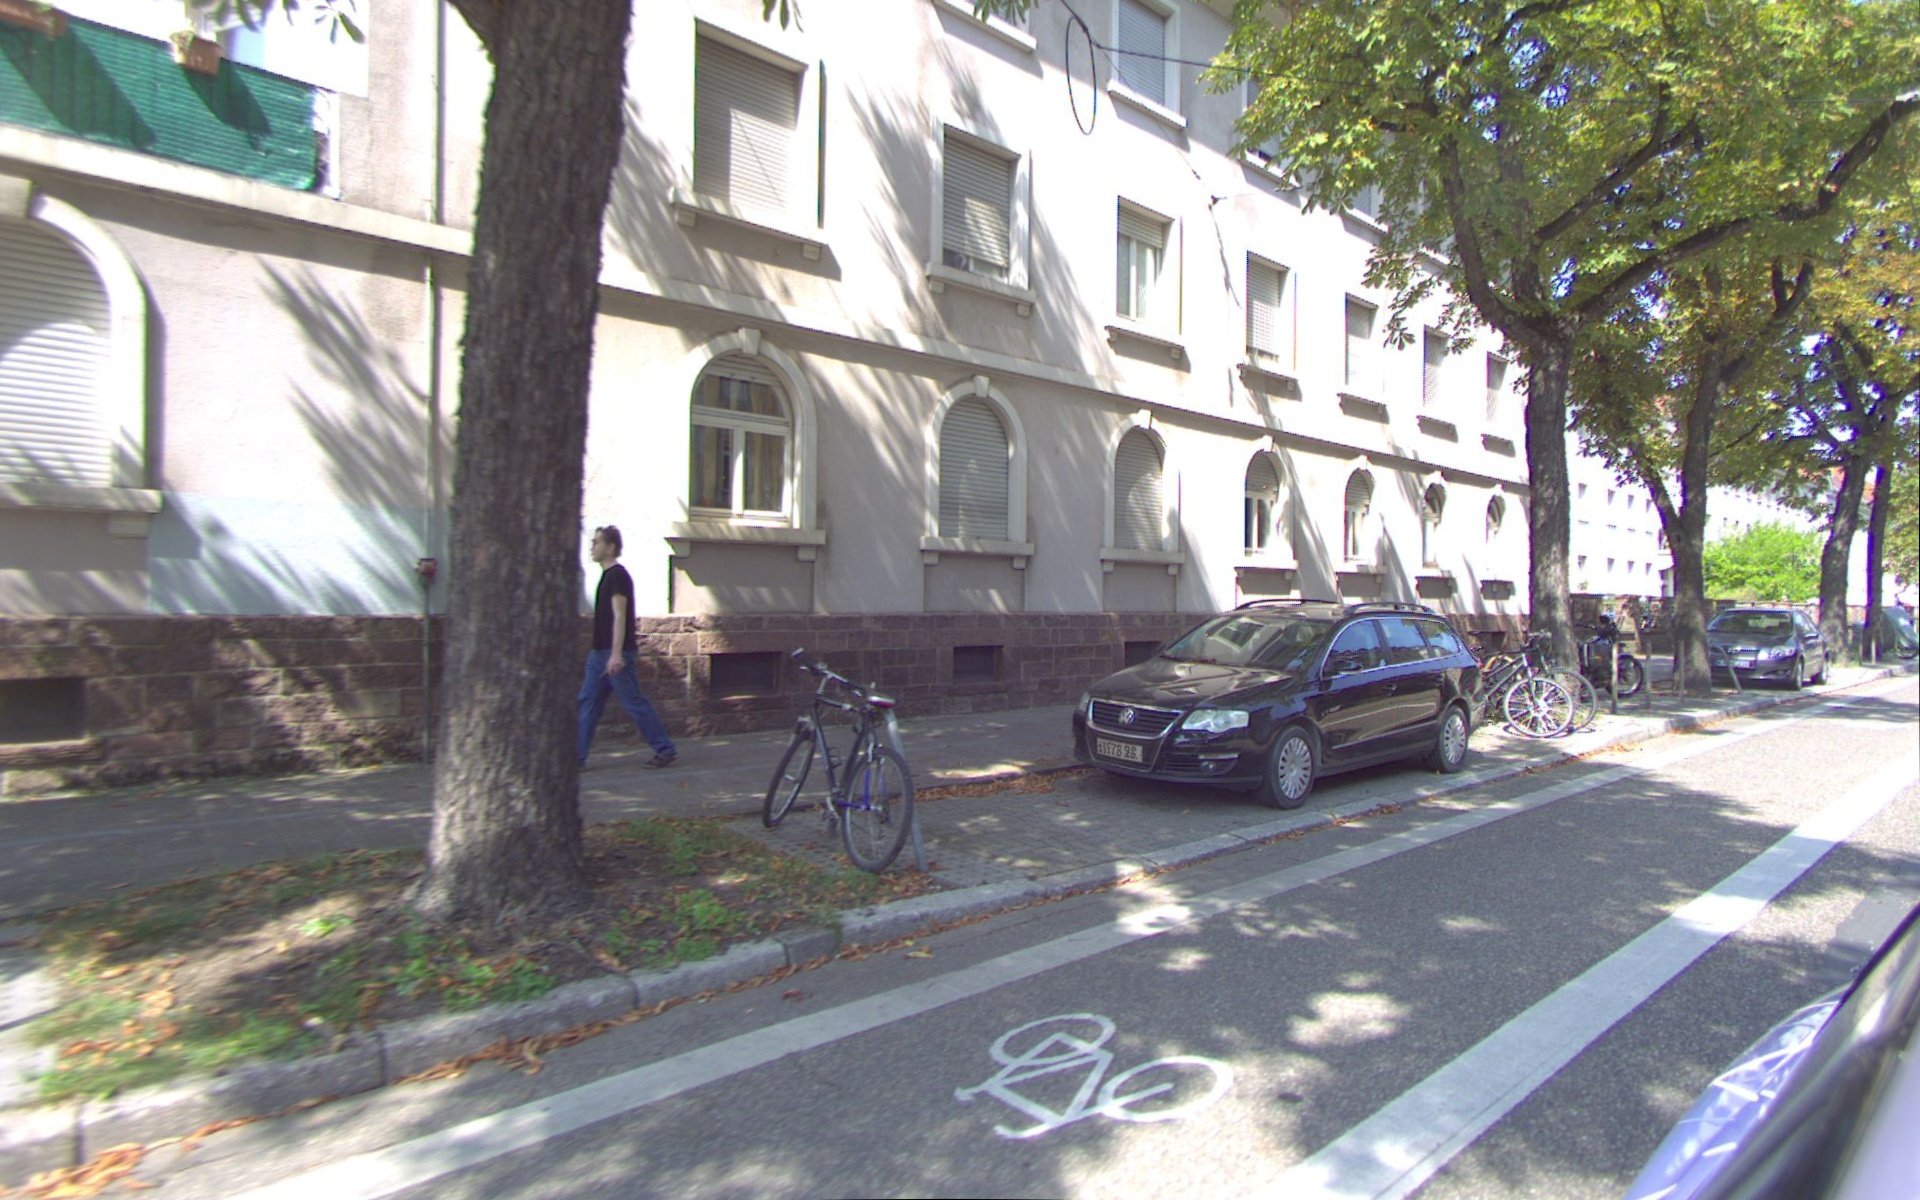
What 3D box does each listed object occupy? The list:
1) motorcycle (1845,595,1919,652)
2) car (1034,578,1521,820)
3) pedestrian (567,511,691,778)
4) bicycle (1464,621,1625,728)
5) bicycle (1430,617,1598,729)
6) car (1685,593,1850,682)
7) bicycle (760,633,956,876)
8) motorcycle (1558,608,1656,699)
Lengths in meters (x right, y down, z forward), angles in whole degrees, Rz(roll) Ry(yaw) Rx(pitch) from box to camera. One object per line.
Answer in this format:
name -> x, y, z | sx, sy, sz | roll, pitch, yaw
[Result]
motorcycle -> 27.953, 0.667, 30.229 | 0.950, 1.559, 2.347 | 0, 2, 1
car -> 2.966, 0.643, 8.822 | 4.696, 1.551, 1.844 | 0, 1, -41
pedestrian -> -2.543, 0.314, 7.761 | 0.701, 1.916, 0.708 | 0, 0, -39
bicycle -> 6.726, 0.821, 11.722 | 0.391, 1.118, 1.611 | 1, -1, -33
bicycle -> 6.317, 0.792, 11.640 | 0.369, 1.164, 1.728 | 1, -1, -33
car -> 15.983, 0.727, 19.969 | 4.042, 1.552, 1.844 | 3, -1, -41
bicycle -> -0.653, 0.797, 5.876 | 0.369, 1.151, 1.728 | 1, 0, -33
motorcycle -> 9.756, 0.761, 15.219 | 2.139, 1.271, 0.711 | 1, -1, -42
